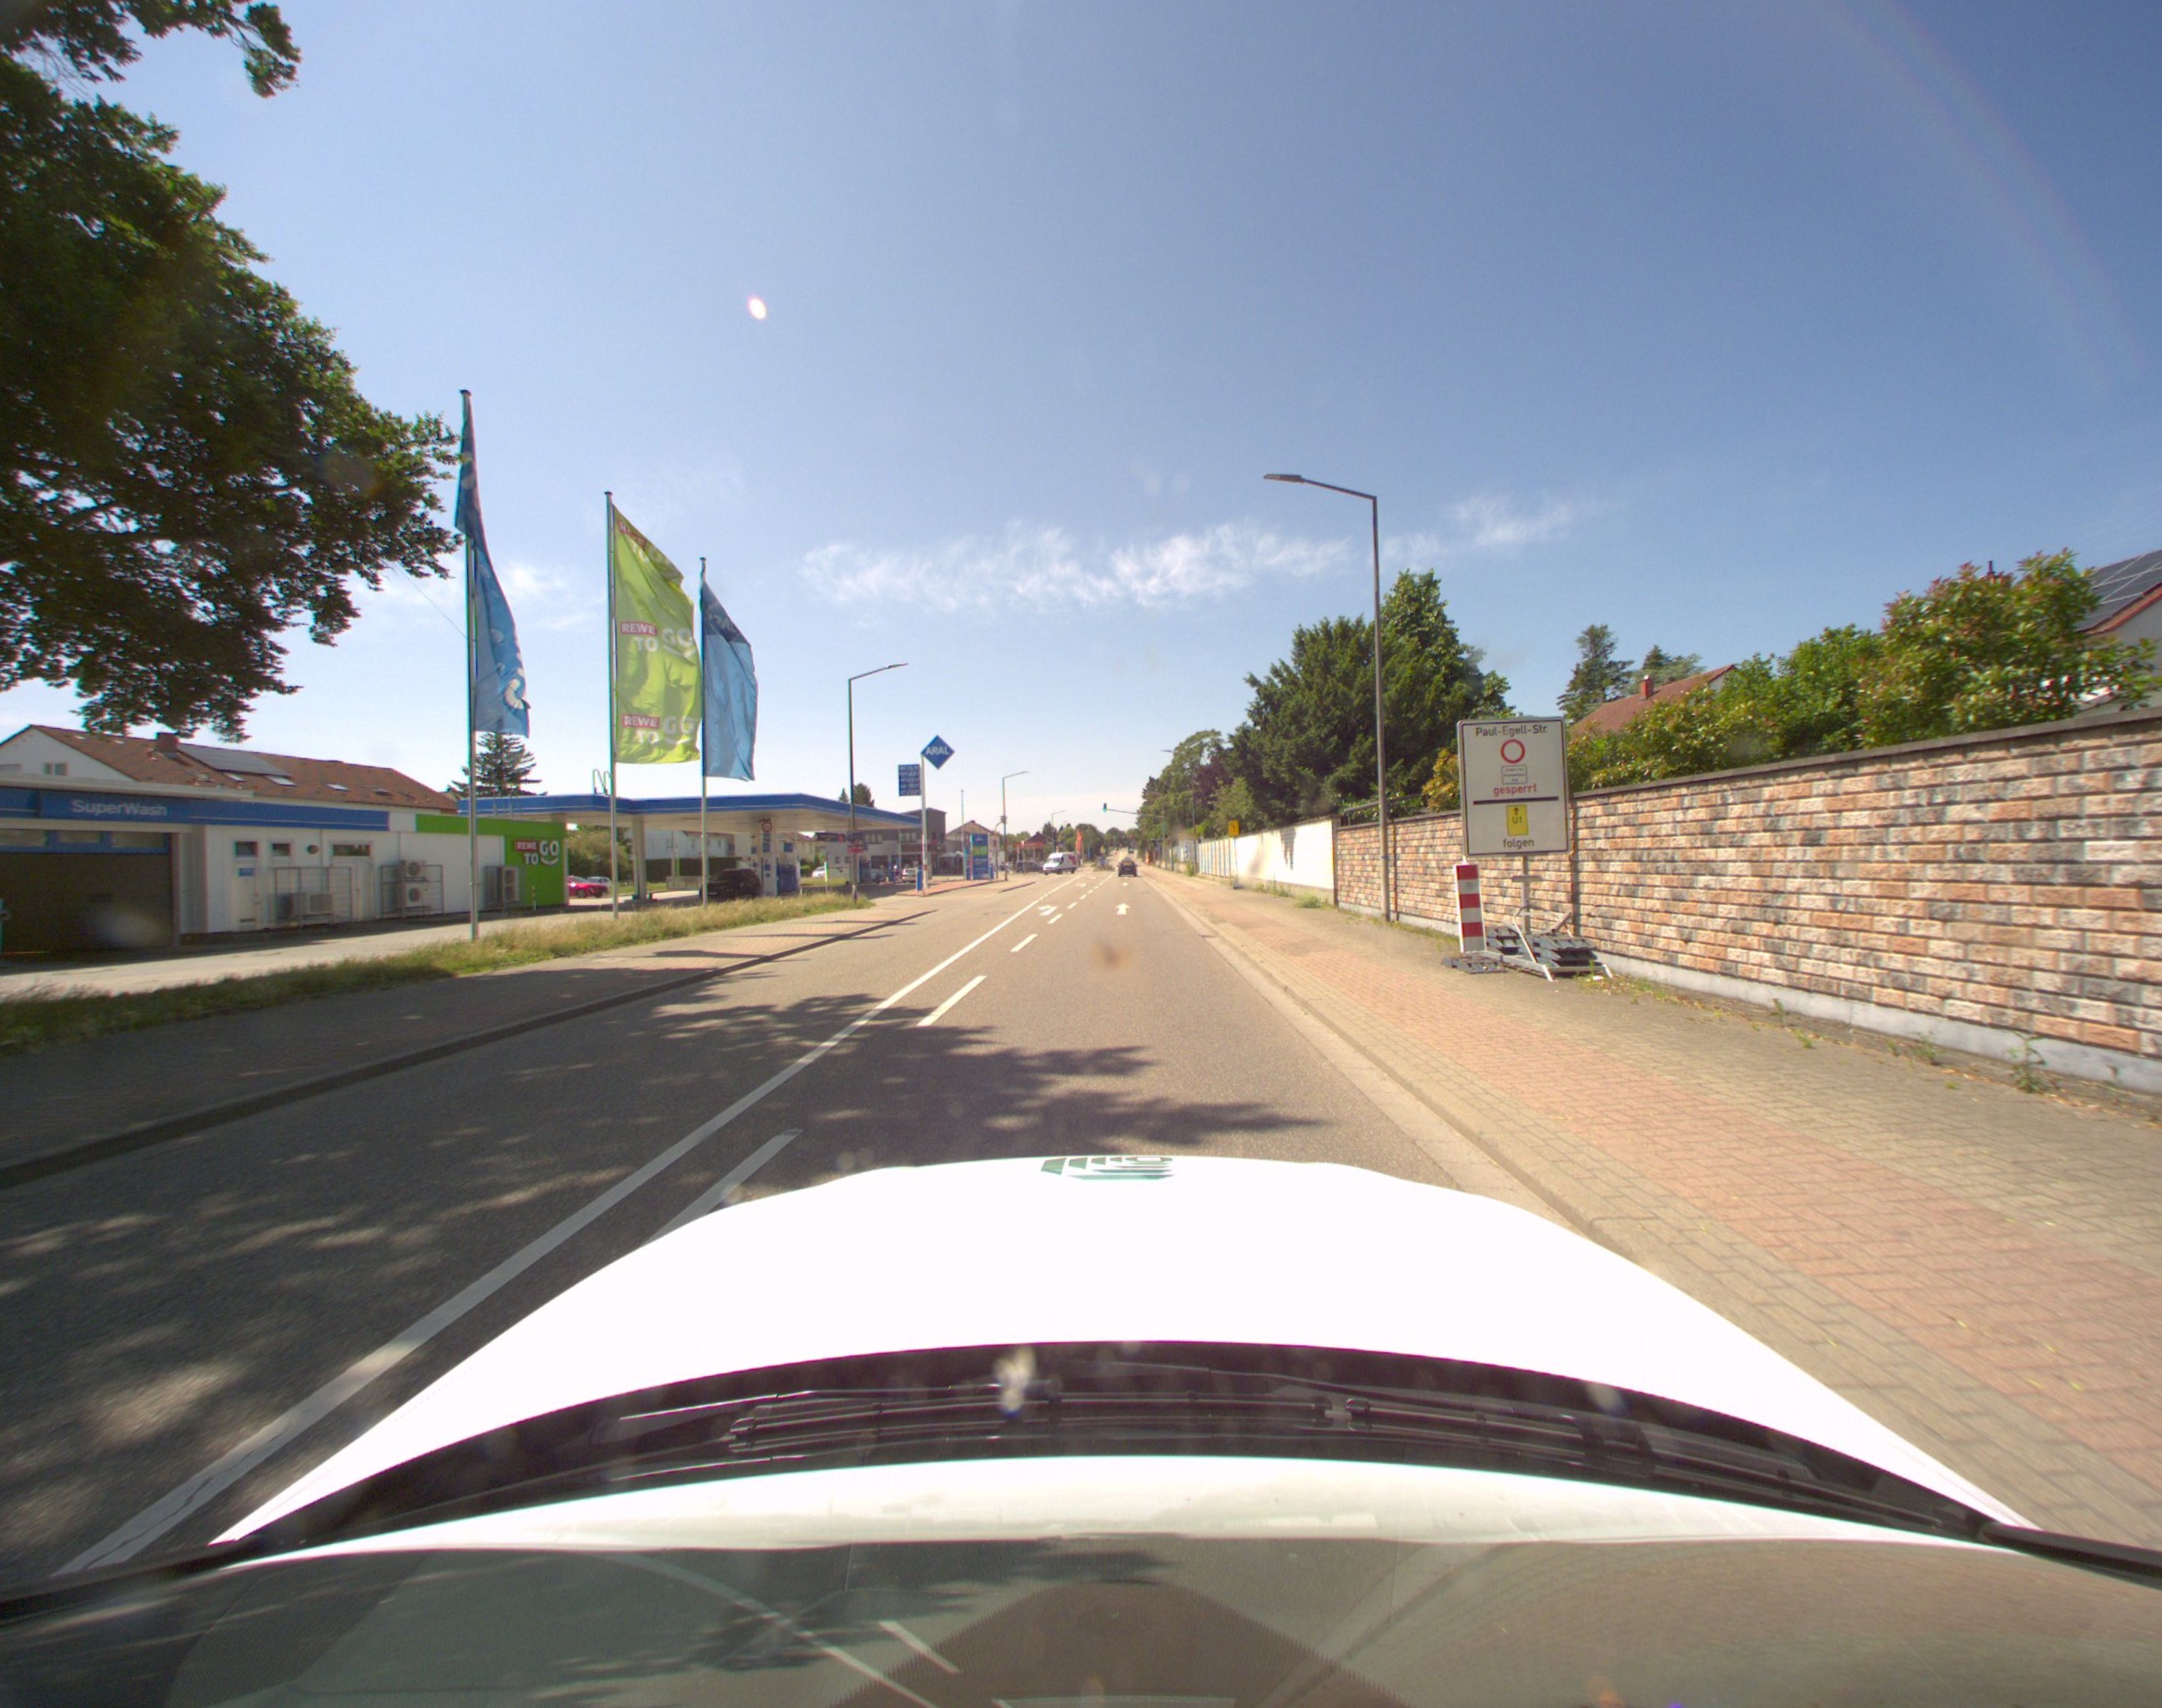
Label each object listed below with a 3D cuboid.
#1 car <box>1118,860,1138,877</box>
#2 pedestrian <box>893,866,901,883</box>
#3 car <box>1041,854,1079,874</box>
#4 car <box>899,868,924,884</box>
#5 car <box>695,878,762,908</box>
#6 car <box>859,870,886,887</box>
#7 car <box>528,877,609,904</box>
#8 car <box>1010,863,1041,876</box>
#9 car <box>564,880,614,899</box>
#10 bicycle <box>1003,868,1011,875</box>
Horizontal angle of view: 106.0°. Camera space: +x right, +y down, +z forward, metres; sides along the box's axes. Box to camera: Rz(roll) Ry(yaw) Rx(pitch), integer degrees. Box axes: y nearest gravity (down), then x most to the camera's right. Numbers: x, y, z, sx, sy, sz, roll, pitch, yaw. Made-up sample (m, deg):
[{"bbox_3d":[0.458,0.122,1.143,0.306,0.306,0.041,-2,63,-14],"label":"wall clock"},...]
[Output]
[{"bbox_3d":[4.219,1.305,73.303,1.659,1.455,3.474,-2,-1,3],"label":"car"},{"bbox_3d":[-18.453,2.084,81.470,0.613,1.691,0.703,-2,-1,-23],"label":"pedestrian"},{"bbox_3d":[-2.551,1.265,99.173,1.975,2.423,5.982,-2,-2,27],"label":"car"},{"bbox_3d":[-16.687,2.162,80.352,1.612,1.420,3.709,-4,0,-1],"label":"car"},{"bbox_3d":[-19.033,2.083,44.167,1.663,1.381,4.003,-2,-1,3],"label":"car"},{"bbox_3d":[-20.438,2.390,79.892,1.612,1.420,3.709,-4,0,-1],"label":"car"},{"bbox_3d":[-32.452,2.296,51.646,3.981,1.536,1.672,-2,-1,-6],"label":"car"},{"bbox_3d":[-7.522,2.075,110.523,3.975,1.508,1.554,-2,-1,-1],"label":"car"},{"bbox_3d":[-43.778,3.170,72.578,1.662,1.480,4.006,-2,-1,5],"label":"car"},{"bbox_3d":[-9.280,2.200,101.590,0.610,0.793,2.576,-2,-1,3],"label":"bicycle"}]
